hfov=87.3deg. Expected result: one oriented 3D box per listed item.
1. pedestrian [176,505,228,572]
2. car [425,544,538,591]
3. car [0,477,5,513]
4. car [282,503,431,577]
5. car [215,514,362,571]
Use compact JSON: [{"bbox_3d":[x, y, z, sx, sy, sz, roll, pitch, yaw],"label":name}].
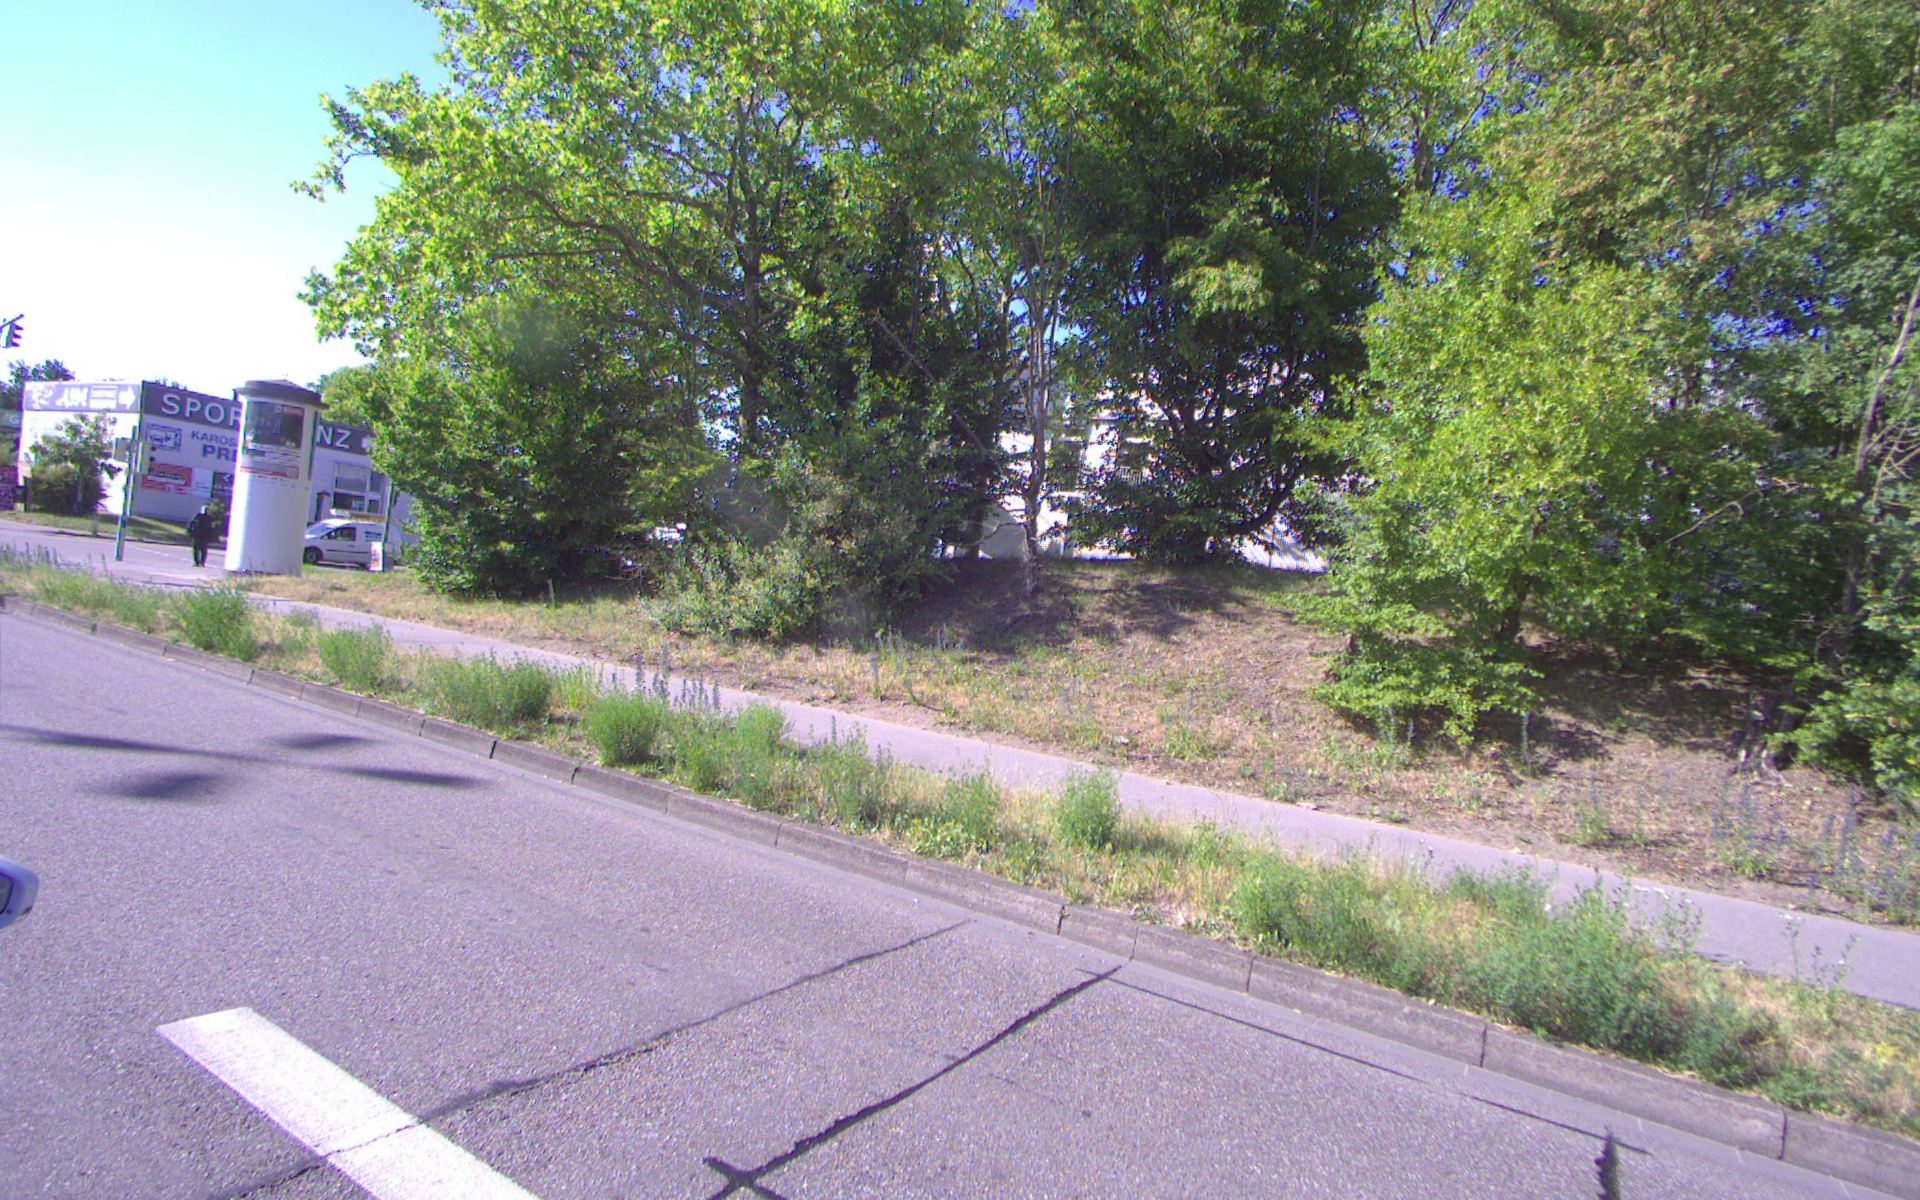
[{"bbox_3d":[-21.160,-1.713,28.082,0.841,1.743,0.822,7,0,39],"label":"pedestrian"},{"bbox_3d":[-22.473,-1.477,47.427,1.965,1.571,4.415,7,-1,28],"label":"car"},{"bbox_3d":[-48.288,-5.342,47.679,1.663,1.726,4.003,7,-1,16],"label":"car"},{"bbox_3d":[-23.388,-2.287,39.170,1.965,2.171,4.415,7,-1,28],"label":"car"},{"bbox_3d":[-26.830,-2.282,40.341,1.965,1.571,4.415,7,-1,28],"label":"car"}]
